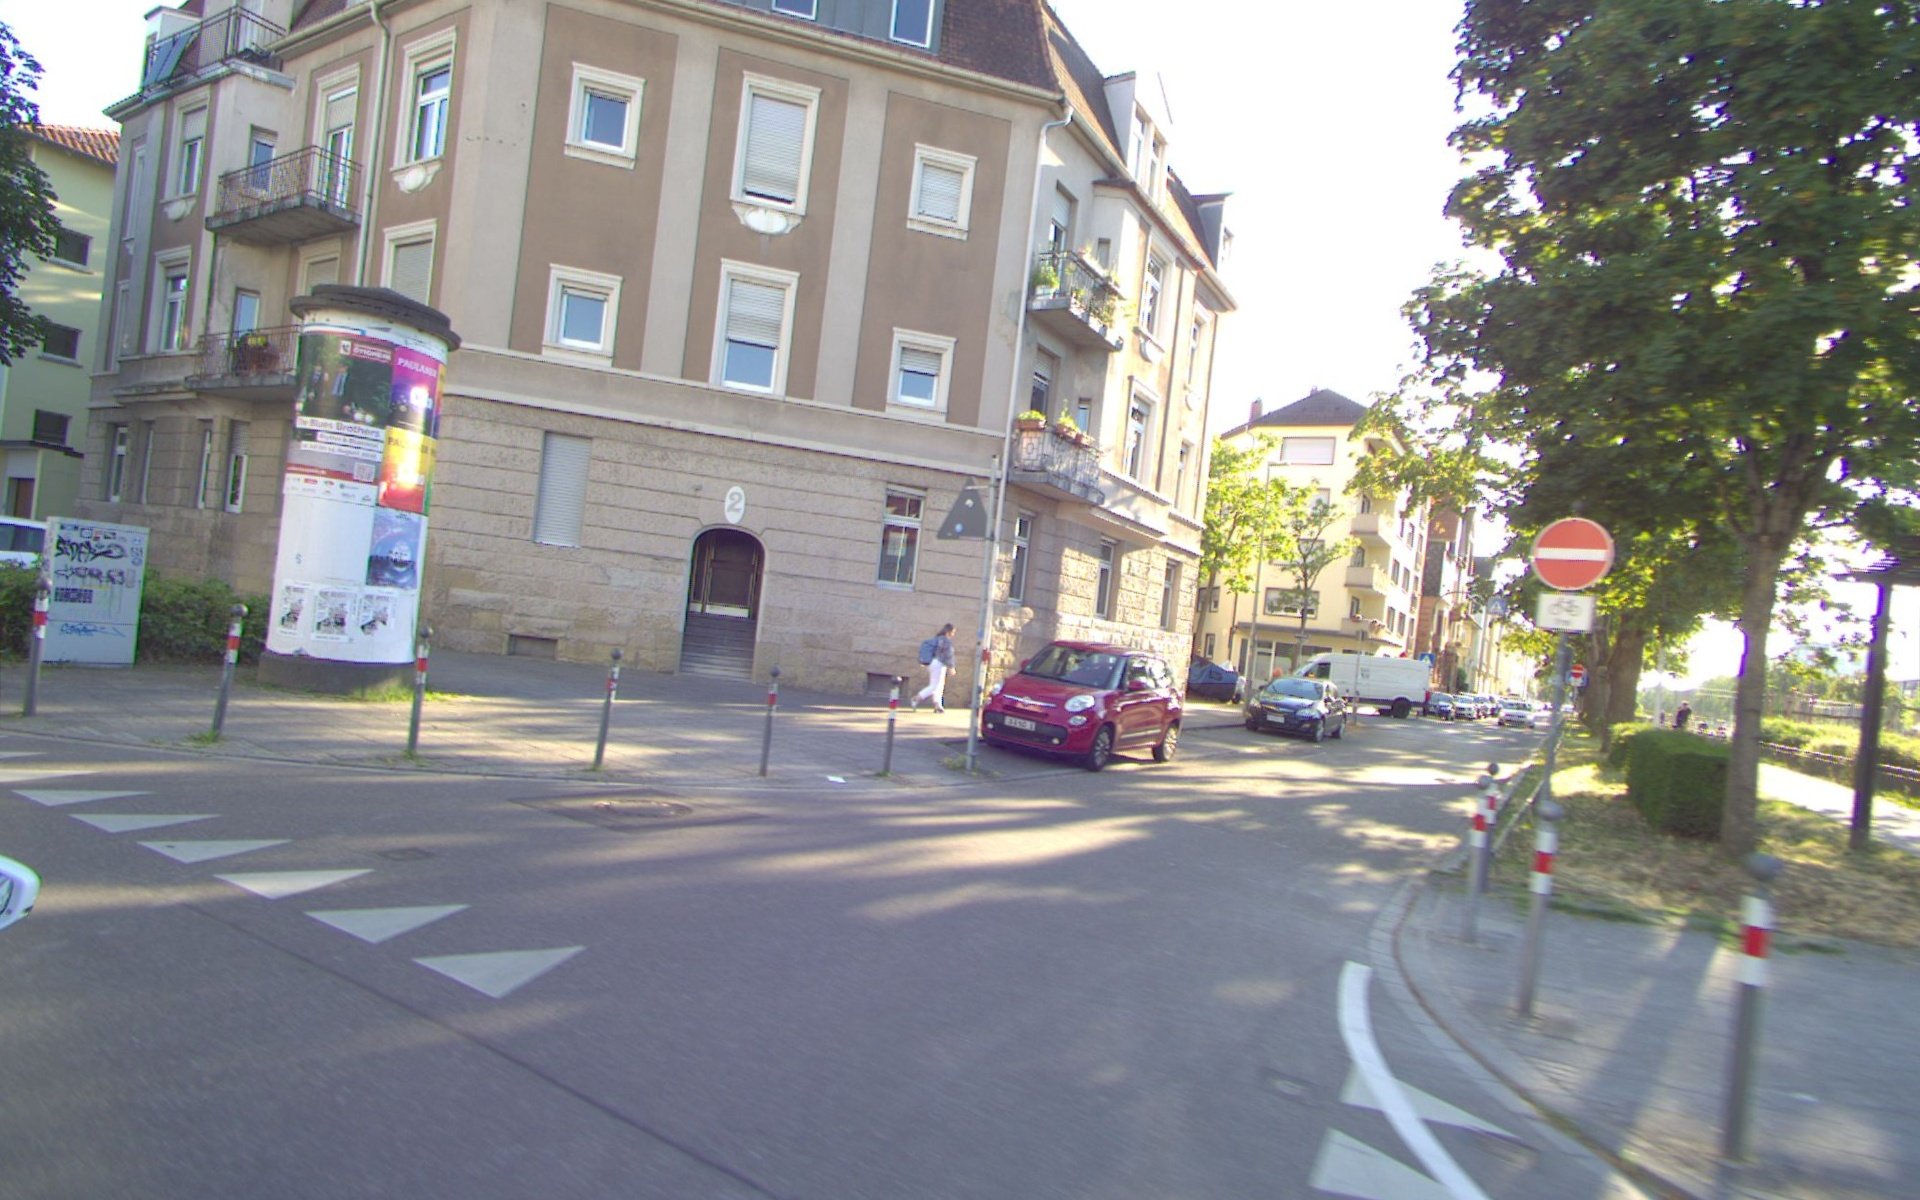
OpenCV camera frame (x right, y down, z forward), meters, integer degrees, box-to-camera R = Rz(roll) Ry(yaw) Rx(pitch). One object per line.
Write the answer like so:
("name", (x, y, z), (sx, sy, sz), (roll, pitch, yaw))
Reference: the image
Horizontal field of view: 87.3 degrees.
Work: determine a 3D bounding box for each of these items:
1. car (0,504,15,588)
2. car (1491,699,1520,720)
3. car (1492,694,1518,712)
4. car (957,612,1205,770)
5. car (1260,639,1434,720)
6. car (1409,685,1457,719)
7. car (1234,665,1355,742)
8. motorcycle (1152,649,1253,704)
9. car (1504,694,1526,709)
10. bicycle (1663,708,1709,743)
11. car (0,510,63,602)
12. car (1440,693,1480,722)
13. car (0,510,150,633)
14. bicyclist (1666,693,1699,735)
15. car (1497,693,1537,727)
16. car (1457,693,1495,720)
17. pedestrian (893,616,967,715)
("car", (-19.640, -1.216, 17.291), (1.919, 1.544, 4.486), (7, 0, 26))
("car", (45.246, 9.064, 83.386), (1.800, 1.534, 3.748), (6, -2, 32))
("car", (55.623, 10.508, 102.689), (1.802, 1.534, 3.745), (6, -2, 35))
("car", (1.910, 1.326, 14.689), (1.782, 1.761, 4.079), (8, -1, 33))
("car", (17.082, 3.480, 44.701), (6.563, 2.777, 2.319), (7, -1, 3))
("car", (25.634, 5.531, 54.461), (1.800, 1.534, 3.748), (6, -2, 32))
("car", (8.505, 2.608, 25.377), (1.782, 1.551, 4.079), (7, -1, 33))
("motorcycle", (8.320, 2.618, 34.518), (3.171, 1.504, 0.854), (5, -2, 21))
("car", (67.205, 12.239, 121.788), (1.802, 1.534, 3.745), (6, -2, 35))
("bicycle", (30.372, 5.212, 42.131), (0.872, 1.236, 3.108), (6, -2, 25))
("car", (-17.311, -0.910, 16.020), (1.645, 1.465, 4.148), (6, -1, 31))
("car", (31.455, 6.731, 63.212), (1.800, 1.534, 3.748), (6, -2, 32))
("car", (-13.514, -0.513, 13.178), (1.831, 1.523, 4.055), (6, -1, 31))
("bicyclist", (30.668, 4.819, 42.697), (0.846, 1.667, 0.864), (6, -1, 26))
("car", (31.669, 6.221, 57.169), (1.752, 1.659, 3.736), (6, -2, 30))
("car", (34.216, 7.066, 66.699), (1.800, 1.534, 3.748), (6, -2, 32))
("pedestrian", (-0.516, 1.129, 17.274), (0.816, 1.564, 0.733), (7, 0, -42))
